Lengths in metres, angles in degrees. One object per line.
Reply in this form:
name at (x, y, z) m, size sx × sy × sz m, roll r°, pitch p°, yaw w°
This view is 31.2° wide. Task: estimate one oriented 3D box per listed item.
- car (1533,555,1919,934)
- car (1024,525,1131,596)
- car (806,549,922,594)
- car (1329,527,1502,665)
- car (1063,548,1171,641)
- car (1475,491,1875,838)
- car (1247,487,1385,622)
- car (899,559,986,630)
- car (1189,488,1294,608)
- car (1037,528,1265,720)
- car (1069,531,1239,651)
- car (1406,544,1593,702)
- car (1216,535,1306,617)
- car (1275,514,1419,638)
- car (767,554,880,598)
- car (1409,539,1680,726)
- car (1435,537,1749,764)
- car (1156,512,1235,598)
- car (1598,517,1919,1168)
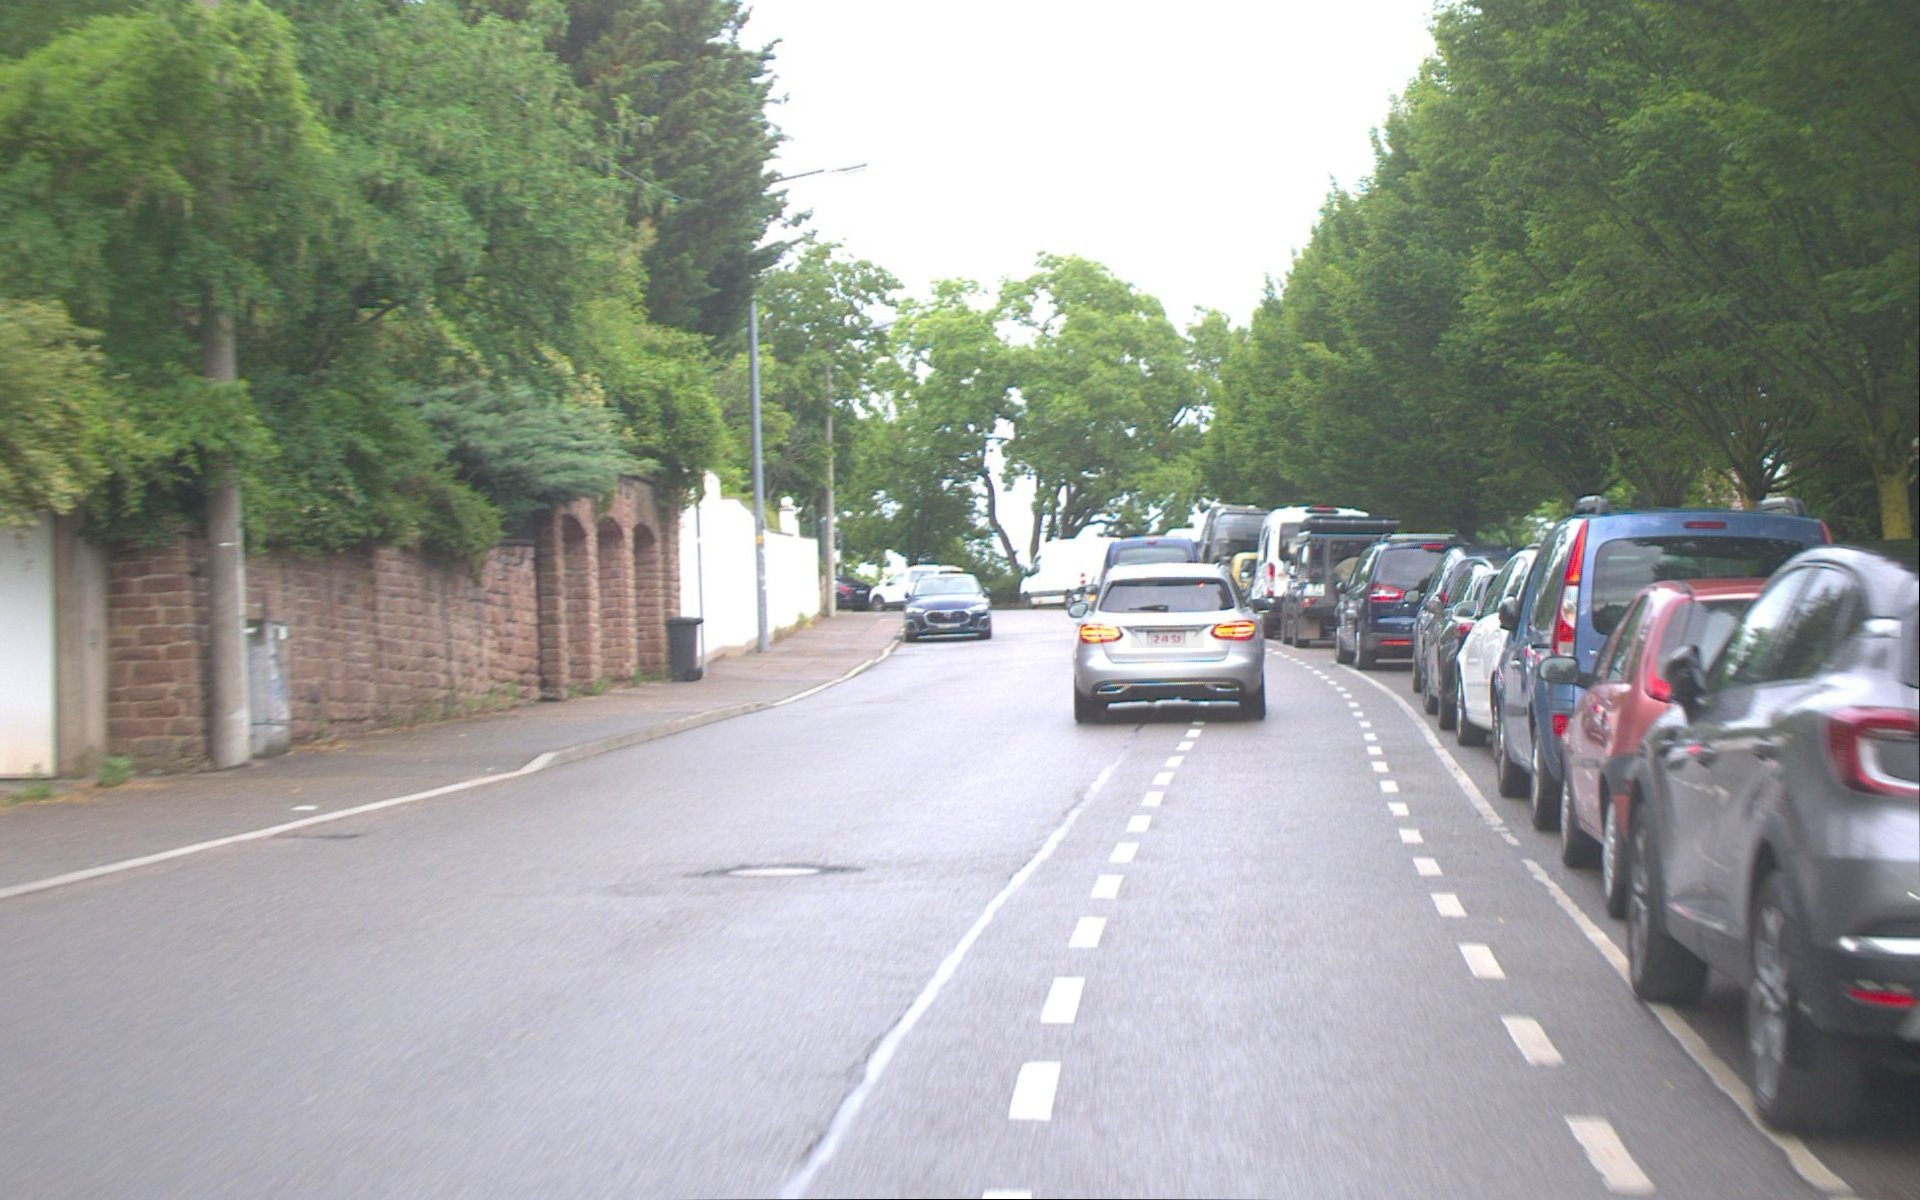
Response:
car at (3.565, 0.550, 15.573) m, size 1.649 × 1.476 × 4.019 m, roll 1°, pitch 1°, yaw 6°
car at (4.265, -1.451, 125.711) m, size 2.125 × 2.518 × 4.497 m, roll 1°, pitch 1°, yaw -24°
car at (-3.875, -1.162, 138.008) m, size 4.493 × 1.692 × 1.966 m, roll 2°, pitch 1°, yaw 42°
car at (6.138, -0.089, 46.725) m, size 1.780 × 1.777 × 4.679 m, roll 0°, pitch 1°, yaw 1°
car at (3.017, -0.092, 65.815) m, size 1.994 × 1.702 × 3.999 m, roll 0°, pitch 0°, yaw 3°
car at (4.165, 0.304, 20.663) m, size 1.778 × 1.845 × 4.424 m, roll 1°, pitch 1°, yaw 4°
car at (6.929, -0.900, 67.560) m, size 2.174 × 2.484 × 6.033 m, roll 1°, pitch 1°, yaw 1°
car at (-0.358, -0.141, 73.456) m, size 1.748 × 1.353 × 4.425 m, roll -3°, pitch 1°, yaw 0°
car at (7.058, -1.315, 86.777) m, size 2.124 × 2.877 × 5.769 m, roll 1°, pitch 1°, yaw 0°
car at (1.844, 0.200, 32.986) m, size 2.025 × 1.702 × 4.215 m, roll -1°, pitch 0°, yaw 4°
car at (2.840, -0.124, 51.205) m, size 1.993 × 1.702 × 4.000 m, roll 0°, pitch 0°, yaw -5°
car at (5.635, 0.201, 36.234) m, size 1.693 × 1.565 × 3.922 m, roll 0°, pitch 1°, yaw 5°
car at (7.006, -0.576, 80.348) m, size 1.727 × 1.779 × 4.275 m, roll 3°, pitch 1°, yaw 1°
car at (6.666, -0.422, 59.701) m, size 1.993 × 2.045 × 5.121 m, roll 0°, pitch 0°, yaw 1°
car at (-5.567, -0.980, 139.743) m, size 1.965 × 1.692 × 4.667 m, roll 0°, pitch 1°, yaw -44°
car at (5.157, 0.237, 30.926) m, size 1.994 × 1.532 × 4.849 m, roll 0°, pitch 1°, yaw 5°
car at (4.766, 0.325, 26.448) m, size 1.783 × 1.603 × 4.224 m, roll 0°, pitch 1°, yaw 2°
car at (7.003, -1.347, 102.526) m, size 2.064 × 2.486 × 4.759 m, roll 1°, pitch 1°, yaw 1°
car at (3.031, 0.576, 10.256) m, size 1.714 × 1.550 × 4.163 m, roll 2°, pitch 1°, yaw 4°
